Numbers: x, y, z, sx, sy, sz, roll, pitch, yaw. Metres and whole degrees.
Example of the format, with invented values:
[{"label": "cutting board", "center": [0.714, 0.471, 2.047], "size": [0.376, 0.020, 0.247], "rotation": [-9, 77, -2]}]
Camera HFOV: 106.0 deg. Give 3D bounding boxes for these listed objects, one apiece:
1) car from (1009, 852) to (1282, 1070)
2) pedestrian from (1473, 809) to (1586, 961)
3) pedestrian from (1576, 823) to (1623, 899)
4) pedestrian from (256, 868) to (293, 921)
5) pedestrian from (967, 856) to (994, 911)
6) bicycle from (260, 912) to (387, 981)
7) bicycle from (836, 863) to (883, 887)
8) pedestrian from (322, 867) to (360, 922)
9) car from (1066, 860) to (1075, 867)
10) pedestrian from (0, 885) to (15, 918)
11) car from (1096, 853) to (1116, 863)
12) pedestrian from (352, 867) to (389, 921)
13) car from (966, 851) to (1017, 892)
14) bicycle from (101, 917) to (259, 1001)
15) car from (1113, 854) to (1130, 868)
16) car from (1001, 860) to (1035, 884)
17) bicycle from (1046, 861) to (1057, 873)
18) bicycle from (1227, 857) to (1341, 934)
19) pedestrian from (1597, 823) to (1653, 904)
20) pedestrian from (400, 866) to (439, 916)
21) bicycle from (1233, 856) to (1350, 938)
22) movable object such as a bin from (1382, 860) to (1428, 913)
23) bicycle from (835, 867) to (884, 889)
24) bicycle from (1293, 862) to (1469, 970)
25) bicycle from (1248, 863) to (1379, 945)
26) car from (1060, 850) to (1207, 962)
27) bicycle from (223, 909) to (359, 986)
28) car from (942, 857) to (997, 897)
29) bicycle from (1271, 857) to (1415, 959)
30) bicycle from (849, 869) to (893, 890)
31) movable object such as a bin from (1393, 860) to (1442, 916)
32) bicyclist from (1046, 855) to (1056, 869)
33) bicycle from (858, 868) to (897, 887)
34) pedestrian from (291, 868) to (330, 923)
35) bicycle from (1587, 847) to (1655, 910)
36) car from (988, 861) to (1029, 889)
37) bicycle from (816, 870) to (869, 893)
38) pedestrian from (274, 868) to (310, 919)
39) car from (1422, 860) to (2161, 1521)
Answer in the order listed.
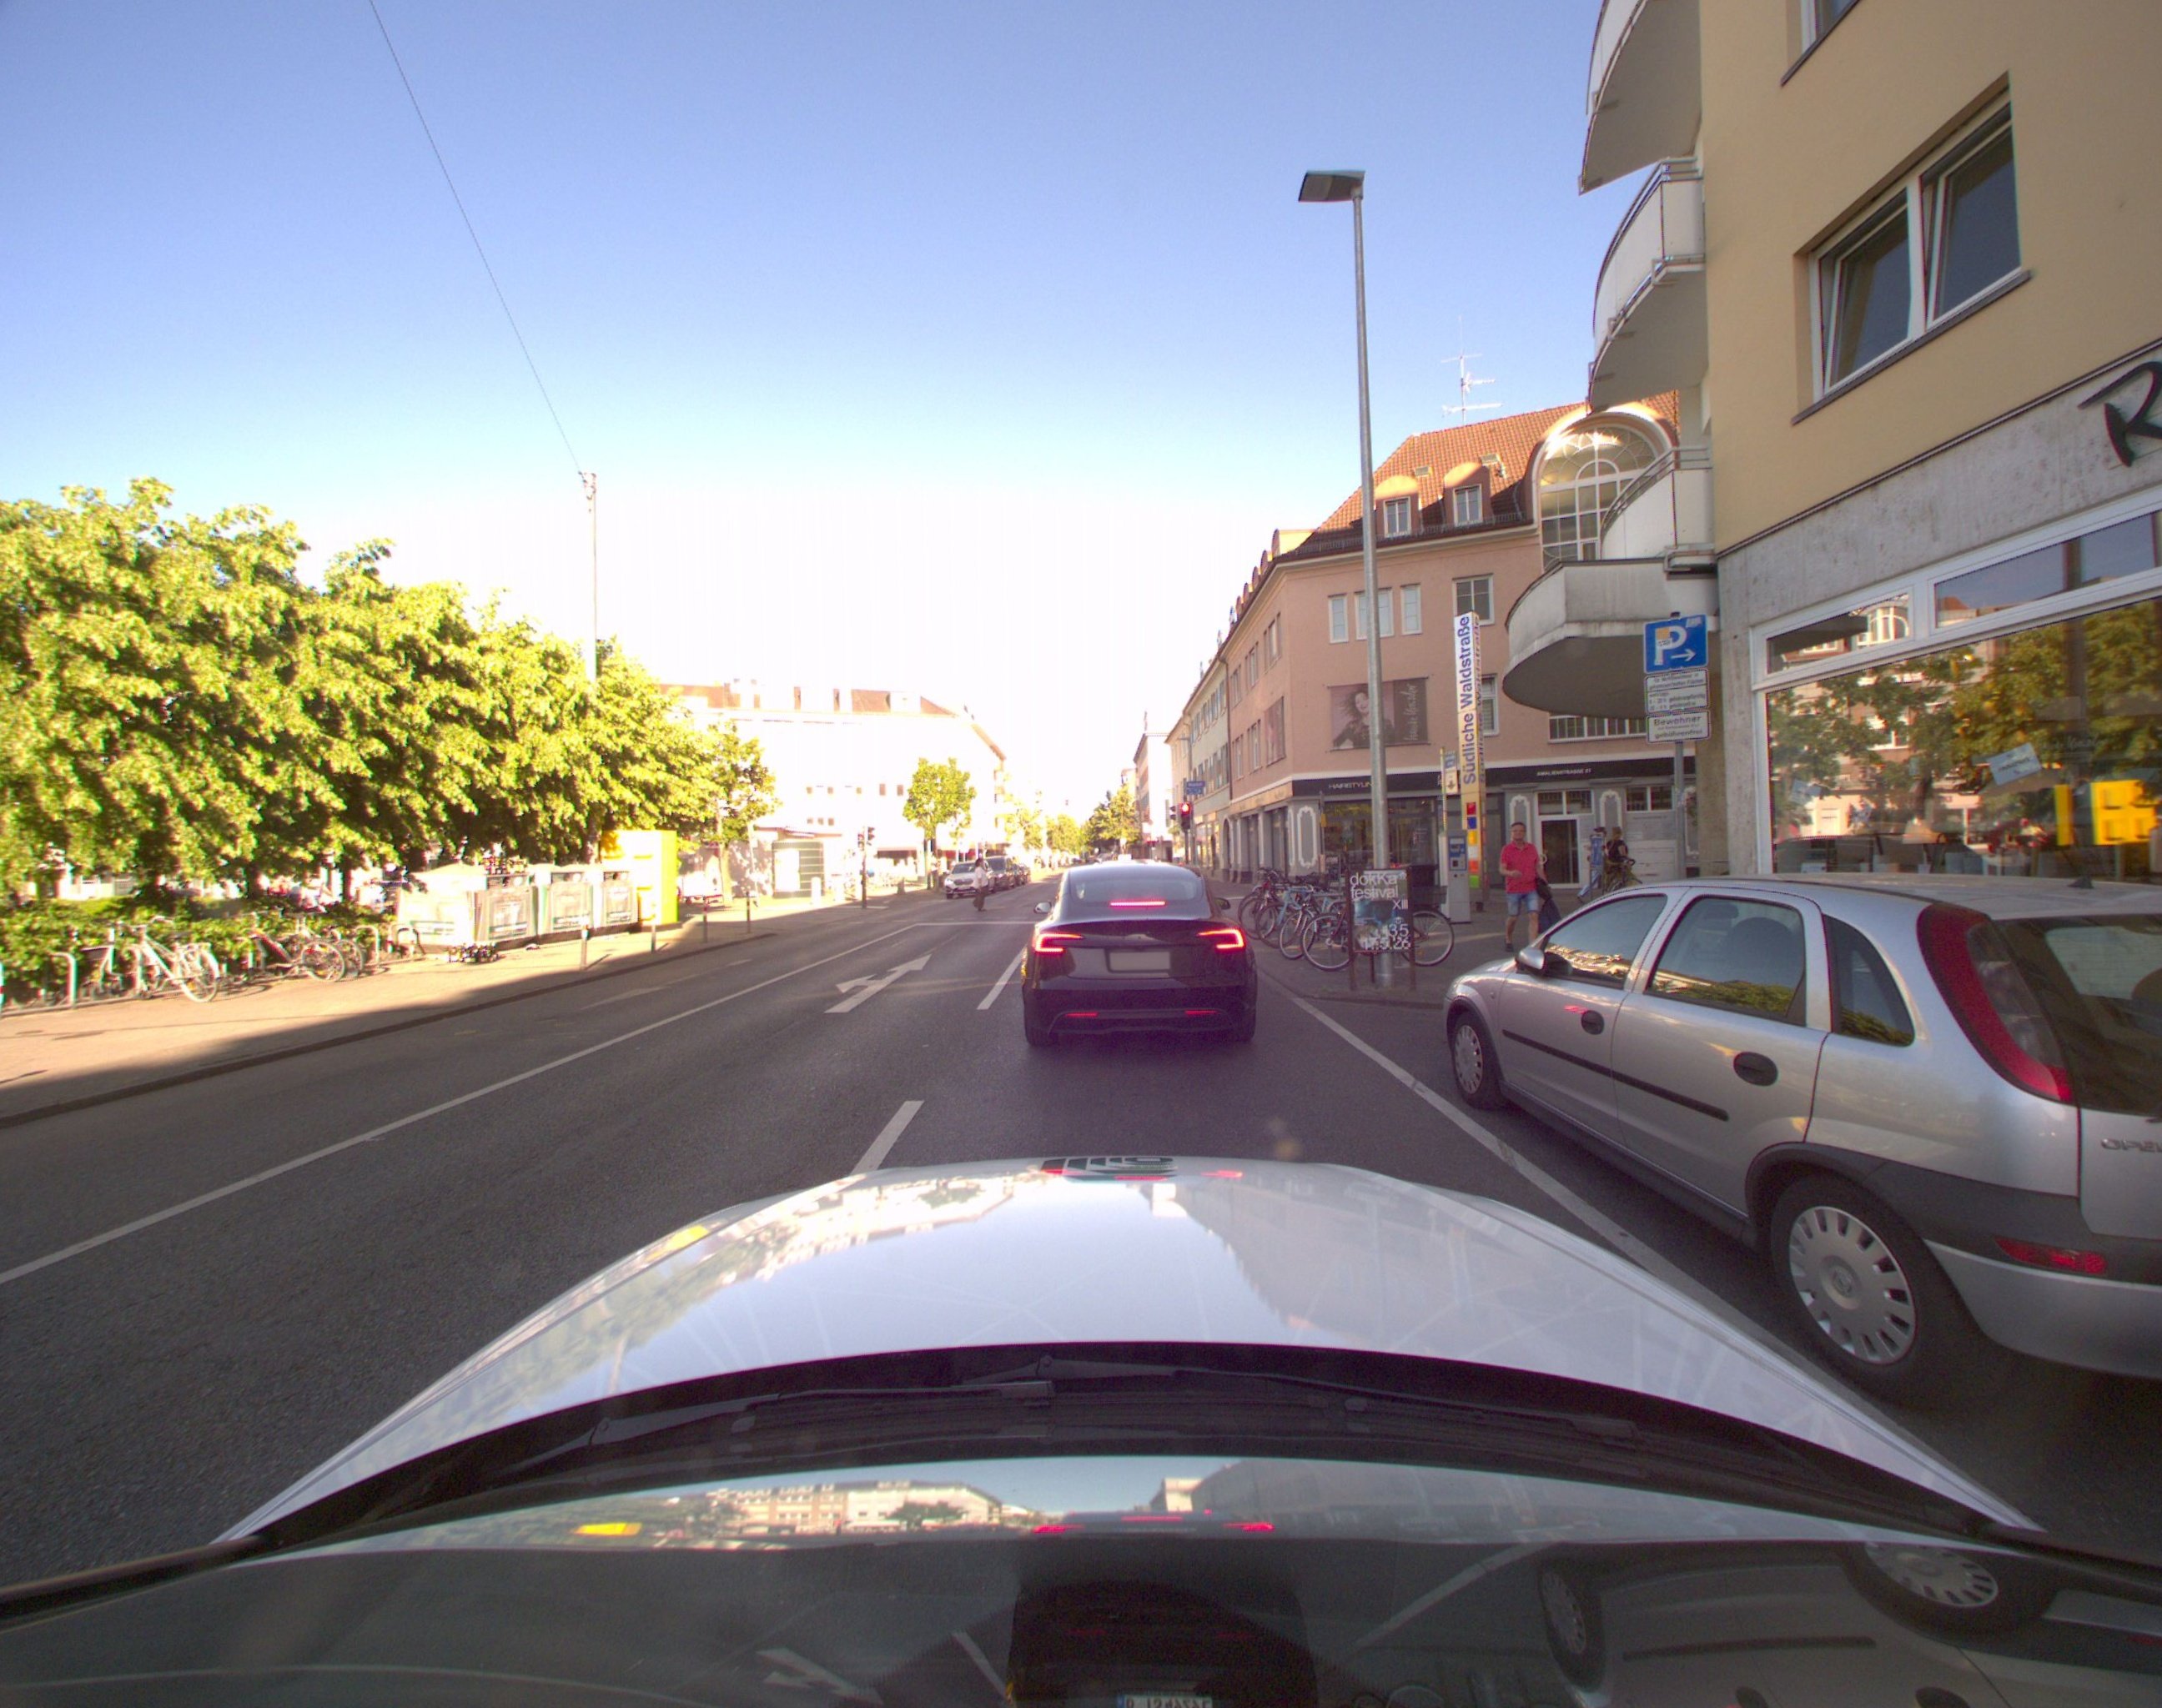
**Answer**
[{"label": "car", "center": [0.505, 0.754, 7.619], "size": [1.841, 1.455, 4.001], "rotation": [-2, 0, 2]}, {"label": "pedestrian", "center": [5.676, 0.385, 10.381], "size": [0.859, 1.784, 1.011], "rotation": [-4, -1, 10]}, {"label": "pedestrian", "center": [11.810, 0.168, 18.577], "size": [0.771, 1.683, 0.832], "rotation": [-4, -3, 29]}, {"label": "pedestrian", "center": [-31.799, 1.586, 32.115], "size": [0.980, 2.013, 0.910], "rotation": [-2, -1, 38]}, {"label": "pedestrian", "center": [-2.973, 0.856, 23.991], "size": [0.747, 1.552, 0.697], "rotation": [-1, 0, -9]}, {"label": "bicycle", "center": [-11.346, 1.374, 12.216], "size": [1.517, 0.958, 0.431], "rotation": [-1, 1, 3]}, {"label": "bicycle", "center": [-12.902, 1.243, 47.510], "size": [2.472, 1.324, 0.921], "rotation": [-1, 0, -4]}, {"label": "pedestrian", "center": [-27.851, 1.514, 30.653], "size": [0.980, 2.013, 0.910], "rotation": [-2, -1, 38]}, {"label": "car", "center": [-2.490, 2.157, 187.384], "size": [1.988, 1.637, 3.998], "rotation": [-1, 0, -1]}, {"label": "pedestrian", "center": [-67.513, 2.996, 50.895], "size": [1.385, 2.013, 0.910], "rotation": [-2, 0, 44]}, {"label": "car", "center": [5.117, 0.844, 167.688], "size": [3.974, 2.013, 2.000], "rotation": [-1, 0, 0]}, {"label": "pedestrian", "center": [-27.359, 1.515, 31.360], "size": [0.980, 2.013, 0.910], "rotation": [-2, -1, 38]}, {"label": "car", "center": [-4.625, 0.862, 42.874], "size": [1.827, 1.845, 4.677], "rotation": [-5, 0, 2]}, {"label": "bicycle", "center": [-11.448, 1.327, 10.364], "size": [1.590, 1.018, 0.430], "rotation": [-1, 0, 3]}, {"label": "car", "center": [5.038, 0.823, 100.824], "size": [1.986, 1.629, 4.002], "rotation": [-2, 0, 2]}, {"label": "car", "center": [-4.389, 1.254, 57.291], "size": [1.988, 1.436, 4.672], "rotation": [-5, 0, -1]}, {"label": "bicycle", "center": [-3.477, 1.539, 95.802], "size": [1.108, 1.344, 3.998], "rotation": [-1, 0, -1]}, {"label": "bicycle", "center": [3.628, 0.736, 14.728], "size": [1.851, 1.258, 0.834], "rotation": [-3, -1, 7]}, {"label": "pedestrian", "center": [11.897, 0.201, 17.833], "size": [0.710, 1.713, 0.732], "rotation": [-1, 0, -26]}, {"label": "pedestrian", "center": [-27.679, 1.539, 34.051], "size": [1.205, 2.013, 0.910], "rotation": [-1, 0, 33]}, {"label": "bicycle", "center": [3.513, 0.708, 13.700], "size": [1.738, 1.267, 0.782], "rotation": [-3, -1, 4]}, {"label": "movable object such as a bin", "center": [6.758, 0.673, 16.995], "size": [0.730, 1.092, 0.628], "rotation": [0, -1, 3]}, {"label": "bicycle", "center": [-12.372, 1.364, 45.563], "size": [2.453, 1.156, 0.843], "rotation": [-1, 0, 0]}, {"label": "bicycle", "center": [3.644, 0.748, 10.032], "size": [1.876, 1.193, 0.693], "rotation": [-3, 0, 7]}, {"label": "bicycle", "center": [3.528, 0.751, 12.520], "size": [1.788, 1.124, 0.783], "rotation": [-3, -1, 7]}, {"label": "car", "center": [0.746, 0.720, 13.327], "size": [1.987, 1.512, 4.175], "rotation": [-1, 0, 0]}, {"label": "bicycle", "center": [-11.312, 1.331, 11.683], "size": [1.561, 1.023, 0.430], "rotation": [-1, 0, 3]}, {"label": "car", "center": [-4.939, 0.989, 36.645], "size": [1.802, 1.555, 4.308], "rotation": [-5, 0, -1]}, {"label": "bicycle", "center": [3.548, 0.722, 11.167], "size": [1.713, 1.268, 0.792], "rotation": [-3, -1, 7]}, {"label": "bicycle", "center": [-12.945, 1.569, 50.268], "size": [2.528, 1.156, 0.841], "rotation": [-1, 0, -4]}, {"label": "movable object such as a bin", "center": [6.749, 0.668, 16.357], "size": [0.749, 1.092, 0.628], "rotation": [0, -1, 3]}, {"label": "bicyclist", "center": [-3.503, 0.923, 95.898], "size": [1.123, 1.628, 0.965], "rotation": [-1, 0, -1]}, {"label": "bicycle", "center": [-13.162, 1.514, 52.704], "size": [2.318, 1.156, 0.841], "rotation": [-1, 0, -4]}, {"label": "pedestrian", "center": [-29.043, 1.553, 30.686], "size": [0.980, 2.013, 0.910], "rotation": [-2, -1, 38]}, {"label": "bicycle", "center": [11.053, 0.468, 16.740], "size": [0.653, 1.199, 2.223], "rotation": [-2, 0, 21]}, {"label": "car", "center": [-4.358, 1.230, 49.694], "size": [1.988, 1.410, 4.672], "rotation": [-5, 0, -1]}, {"label": "bicycle", "center": [-12.578, 1.436, 43.033], "size": [2.497, 1.156, 0.843], "rotation": [-1, 0, 0]}, {"label": "pedestrian", "center": [-32.232, 1.595, 33.279], "size": [0.980, 2.013, 0.910], "rotation": [-2, -1, 38]}, {"label": "car", "center": [2.977, 0.728, 3.538], "size": [1.607, 1.382, 3.645], "rotation": [0, 0, 2]}]
